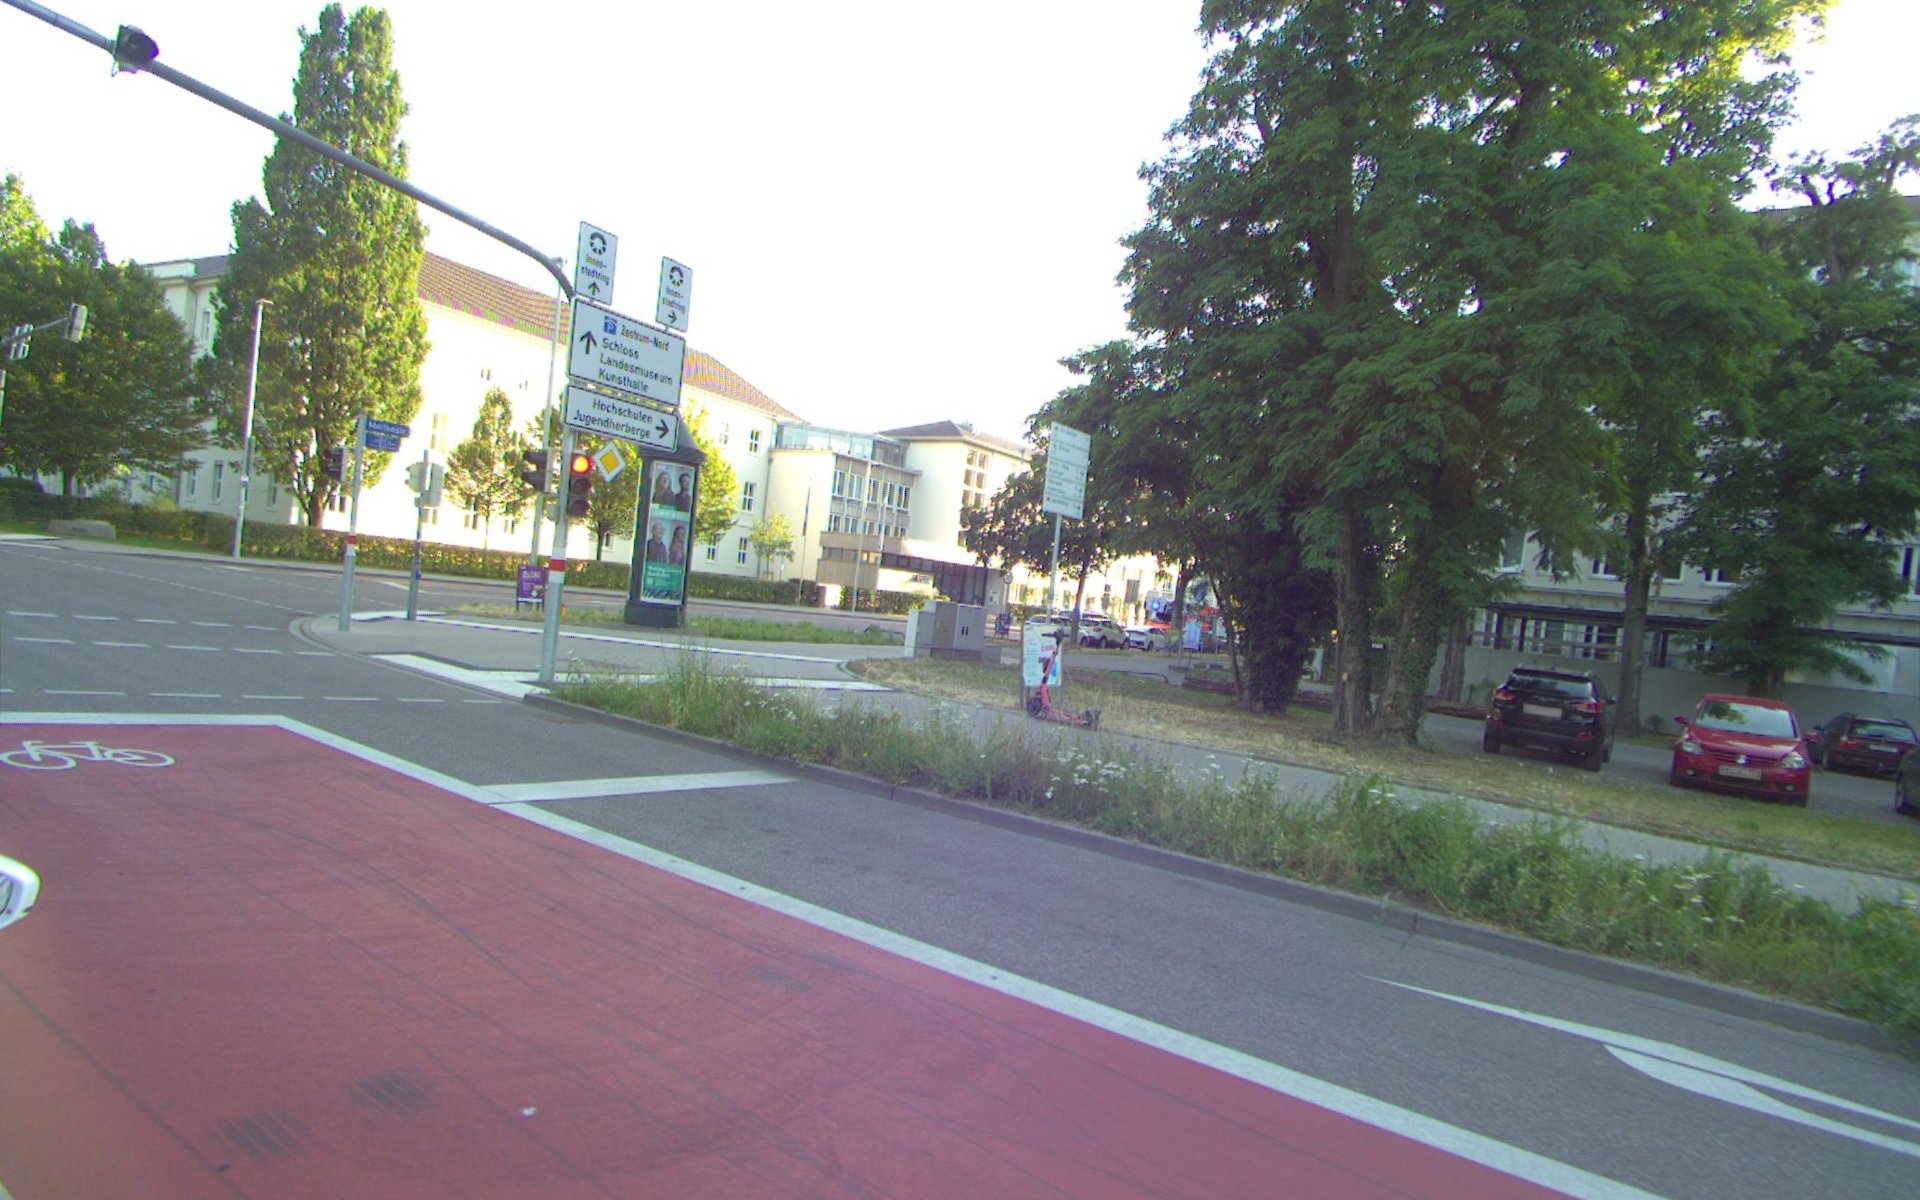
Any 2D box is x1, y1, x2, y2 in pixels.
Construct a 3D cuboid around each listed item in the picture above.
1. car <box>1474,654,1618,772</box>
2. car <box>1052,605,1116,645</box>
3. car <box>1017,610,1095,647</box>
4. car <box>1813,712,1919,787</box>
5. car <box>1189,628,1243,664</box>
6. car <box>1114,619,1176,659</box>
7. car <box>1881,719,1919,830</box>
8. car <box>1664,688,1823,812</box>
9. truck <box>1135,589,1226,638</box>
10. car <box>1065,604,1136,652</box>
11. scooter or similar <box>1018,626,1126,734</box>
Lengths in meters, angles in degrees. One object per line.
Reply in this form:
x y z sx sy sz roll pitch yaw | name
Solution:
10.912 2.046 18.602 1.808 1.715 3.899 7 -1 36 | car
6.930 1.385 55.849 1.720 1.783 3.989 7 -1 35 | car
4.663 1.386 48.252 1.793 1.358 3.985 7 0 37 | car
22.329 3.595 24.558 1.873 1.459 3.987 7 -1 37 | car
16.421 2.959 64.390 1.789 1.893 4.136 7 -1 35 | car
10.265 2.179 55.643 1.720 1.783 3.989 7 -1 35 | car
15.321 2.751 14.764 1.871 1.467 4.567 5 1 34 | car
13.138 2.399 16.938 1.759 1.581 3.984 7 0 38 | car
15.071 0.981 67.995 2.327 2.315 10.050 7 -1 34 | truck
7.254 1.486 51.729 1.713 2.038 3.988 7 -1 36 | car
1.473 1.040 13.355 1.289 1.247 0.311 7 1 32 | scooter or similar
